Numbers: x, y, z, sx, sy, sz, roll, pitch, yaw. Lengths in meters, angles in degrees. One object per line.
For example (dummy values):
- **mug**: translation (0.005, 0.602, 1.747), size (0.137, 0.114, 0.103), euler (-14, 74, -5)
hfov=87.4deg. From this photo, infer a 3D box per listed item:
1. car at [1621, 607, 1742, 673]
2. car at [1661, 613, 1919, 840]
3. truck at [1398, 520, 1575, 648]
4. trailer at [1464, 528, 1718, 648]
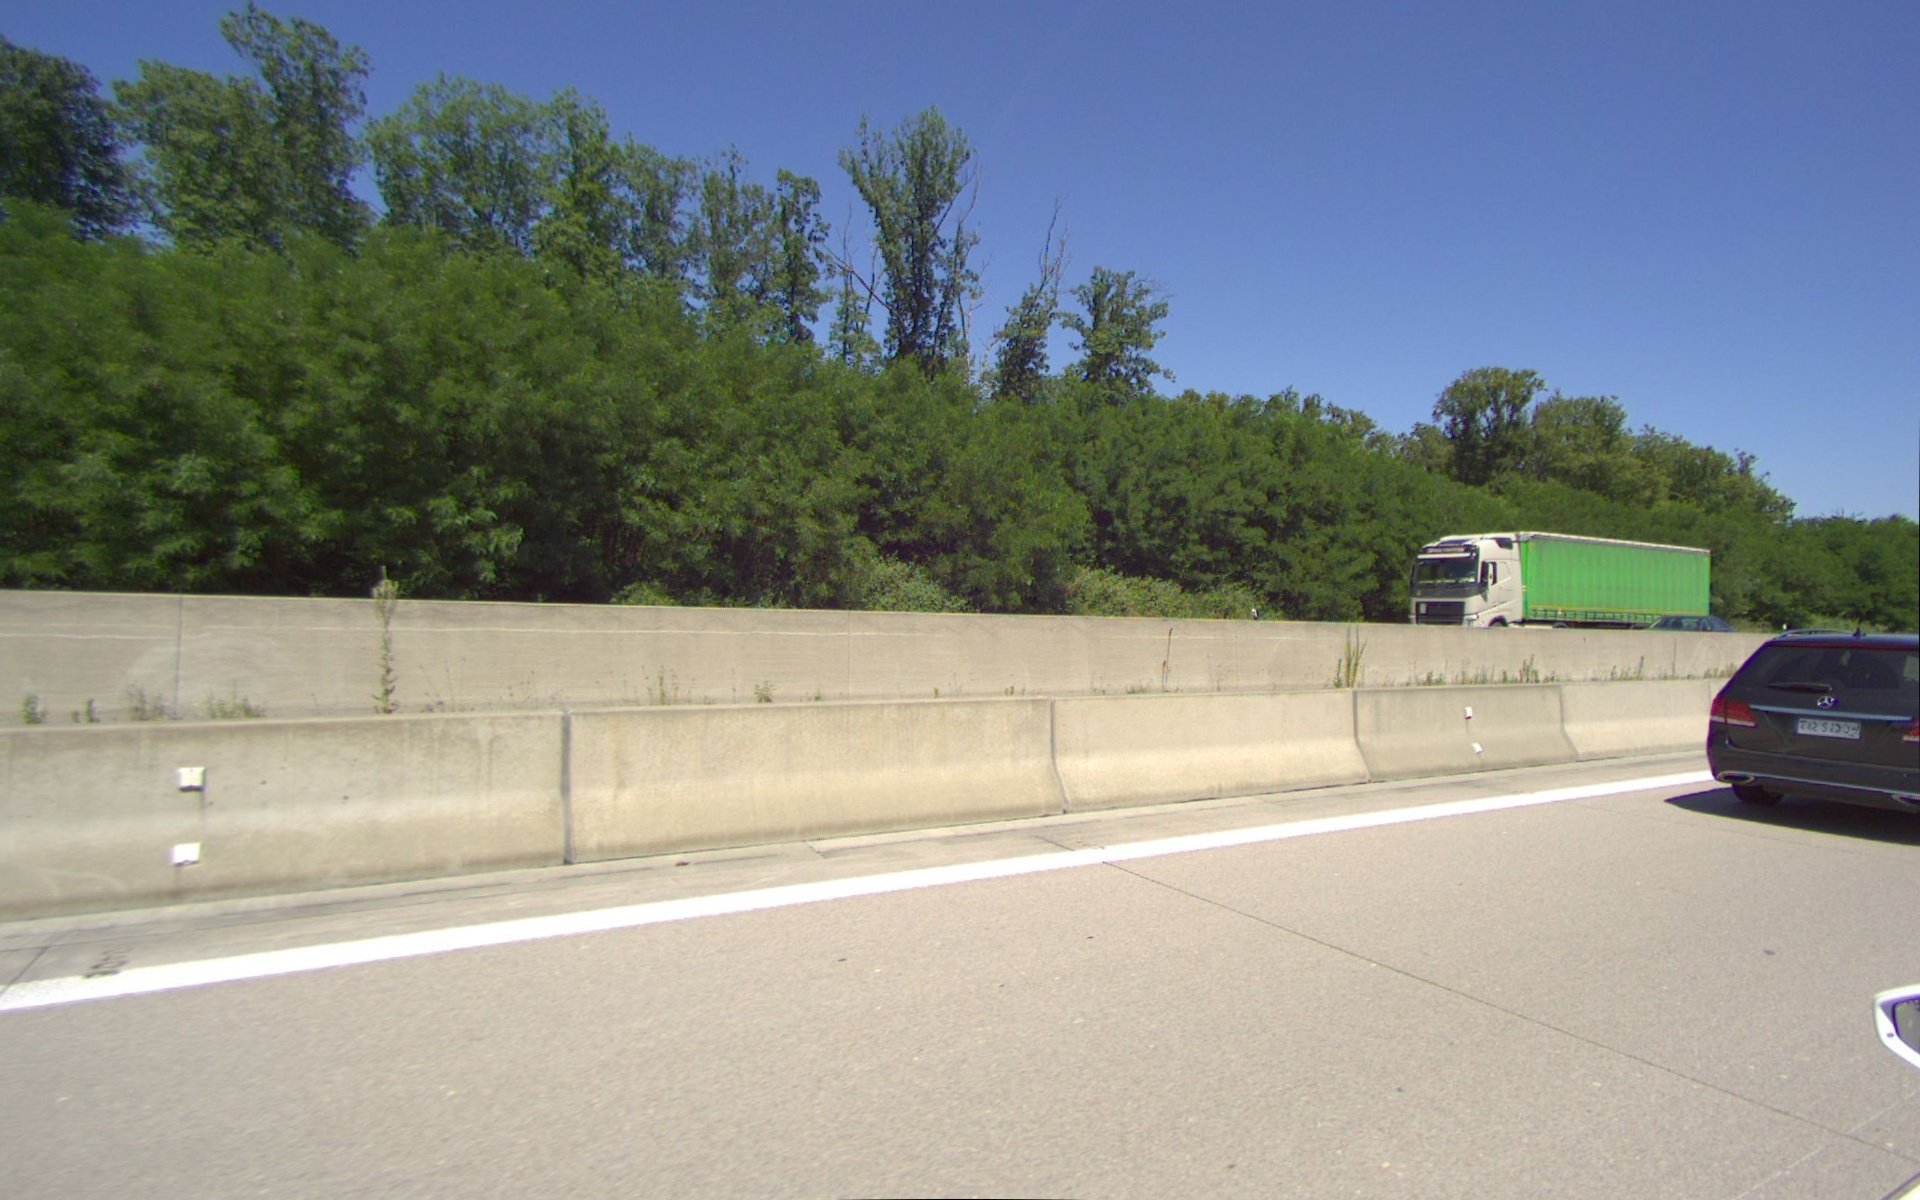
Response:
- **car**: translation (23.727, 1.298, 33.009), size (3.955, 2.040, 1.852), euler (2, -1, -32)
- **car**: translation (8.503, 0.911, 8.680), size (5.538, 1.493, 1.882), euler (1, 0, -30)
- **truck**: translation (17.889, -0.421, 34.056), size (5.902, 3.988, 2.651), euler (1, -1, -32)
- **trailer**: translation (24.178, -0.256, 38.001), size (13.098, 3.988, 2.668), euler (2, -1, -32)
